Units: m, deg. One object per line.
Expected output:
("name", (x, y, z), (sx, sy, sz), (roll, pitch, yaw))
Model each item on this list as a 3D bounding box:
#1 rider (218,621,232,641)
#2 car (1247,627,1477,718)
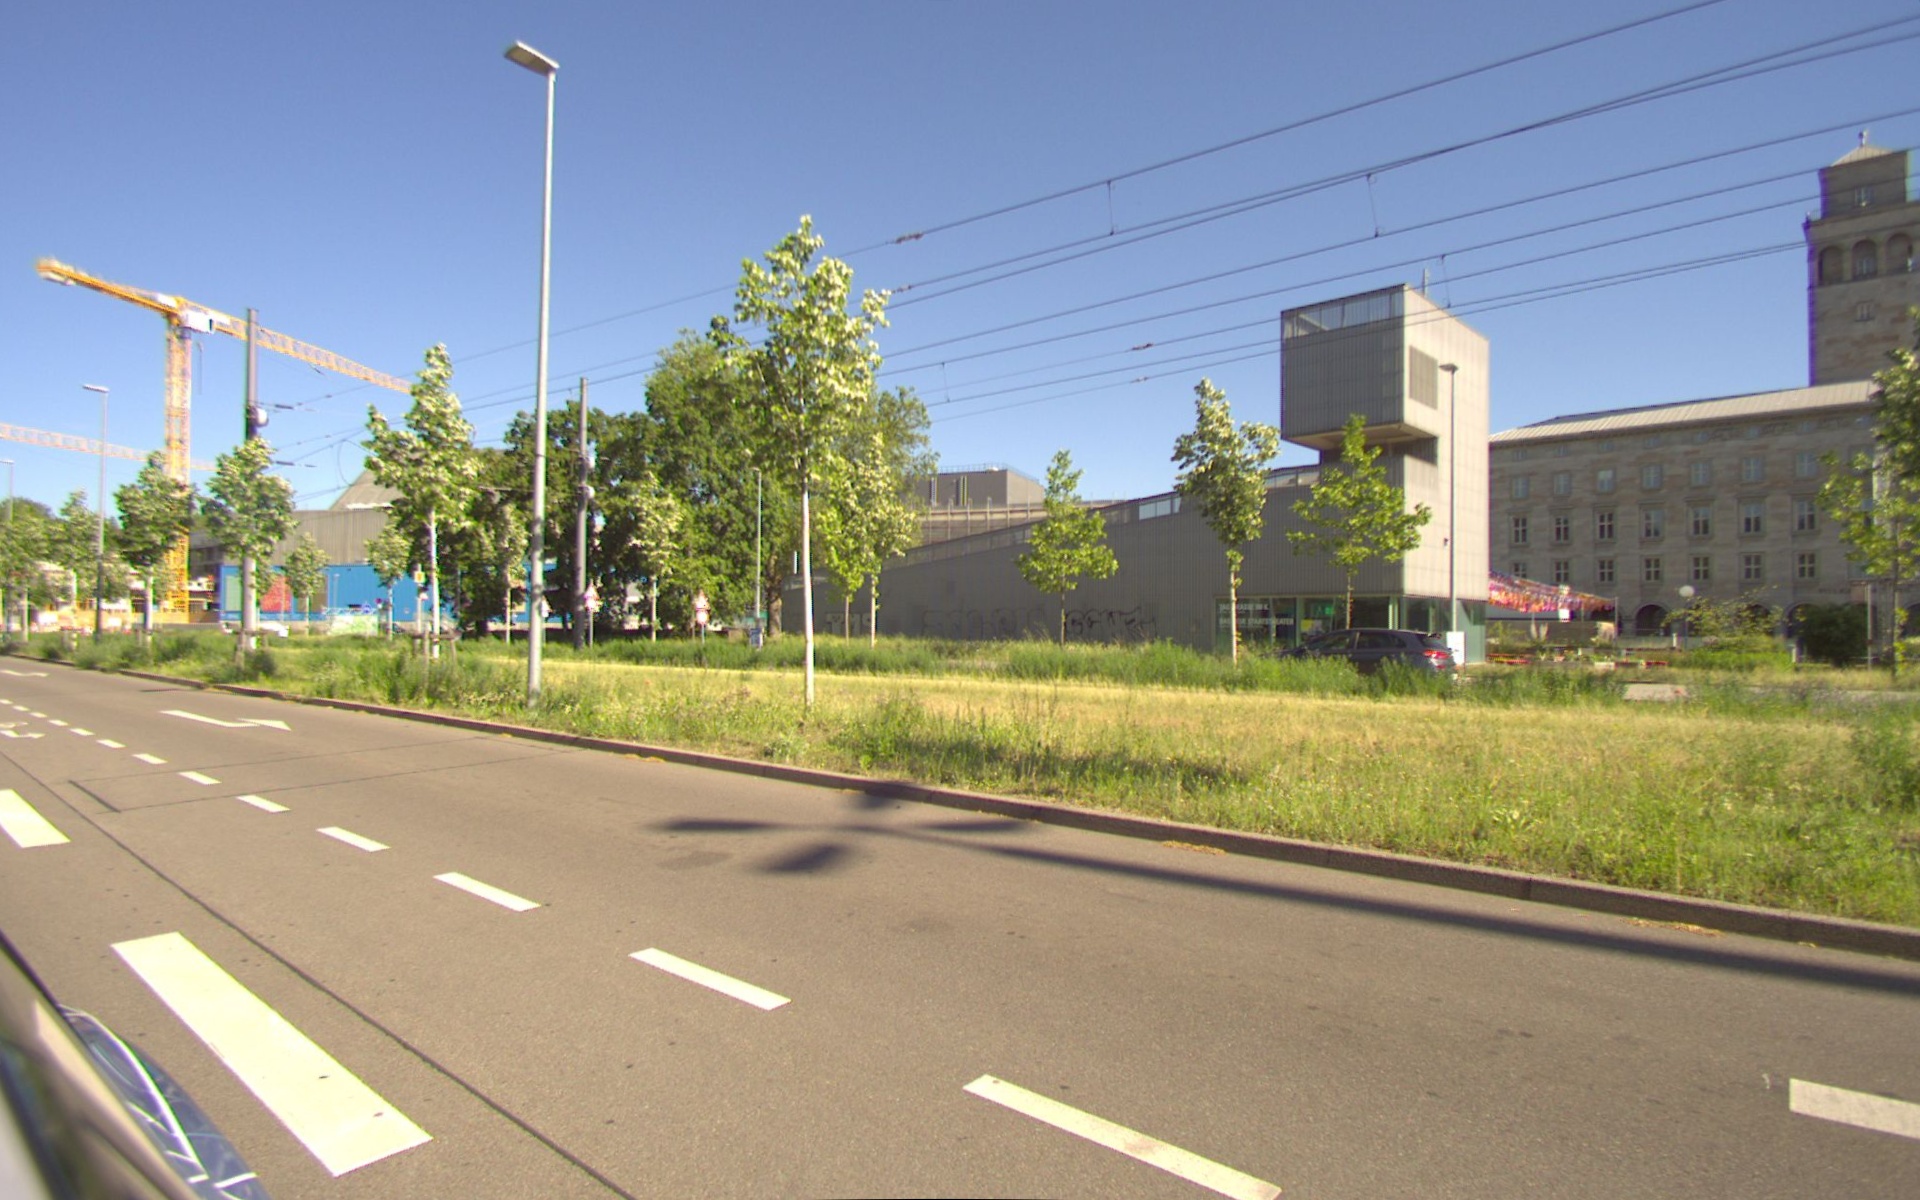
("rider", (-55.643, 2.354, 76.646), (0.631, 1.534, 0.715), (-2, -2, 38))
("car", (8.324, 1.432, 21.179), (4.092, 1.702, 1.805), (-2, -2, 43))
